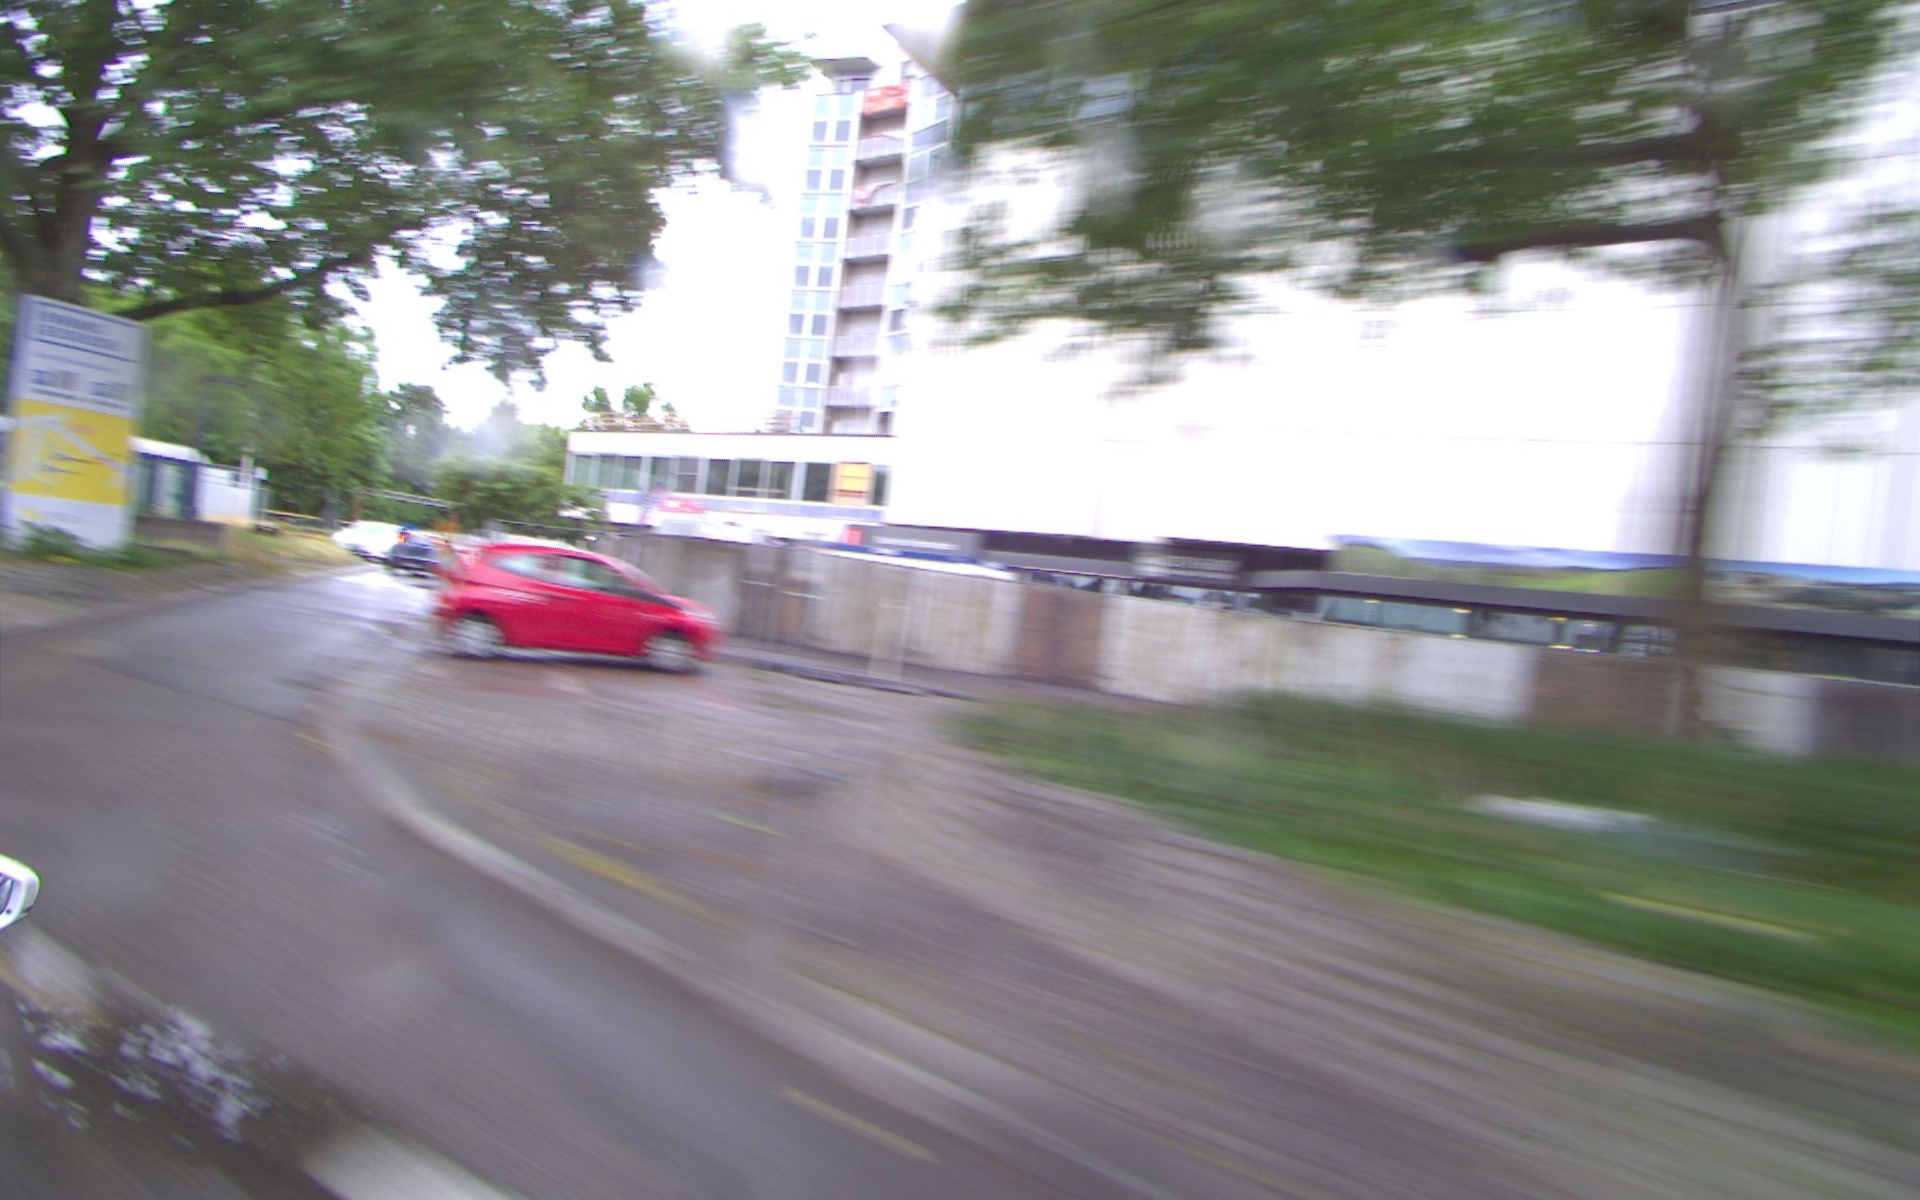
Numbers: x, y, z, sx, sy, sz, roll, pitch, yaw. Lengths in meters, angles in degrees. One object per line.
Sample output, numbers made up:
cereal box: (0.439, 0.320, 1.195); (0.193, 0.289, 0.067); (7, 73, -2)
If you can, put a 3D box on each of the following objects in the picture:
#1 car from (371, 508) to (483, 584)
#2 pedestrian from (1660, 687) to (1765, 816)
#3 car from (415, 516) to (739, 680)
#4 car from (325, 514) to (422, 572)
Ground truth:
car: (-17.975, -1.741, 34.181); (2.101, 2.037, 4.637); (8, -2, -15)
pedestrian: (9.683, 1.924, 12.967); (0.910, 1.487, 0.549); (8, 2, 37)
car: (-4.887, 0.015, 13.167); (3.569, 1.523, 1.727); (9, -2, -20)
car: (-23.774, -2.249, 40.953); (1.919, 1.801, 4.447); (8, -2, -12)
